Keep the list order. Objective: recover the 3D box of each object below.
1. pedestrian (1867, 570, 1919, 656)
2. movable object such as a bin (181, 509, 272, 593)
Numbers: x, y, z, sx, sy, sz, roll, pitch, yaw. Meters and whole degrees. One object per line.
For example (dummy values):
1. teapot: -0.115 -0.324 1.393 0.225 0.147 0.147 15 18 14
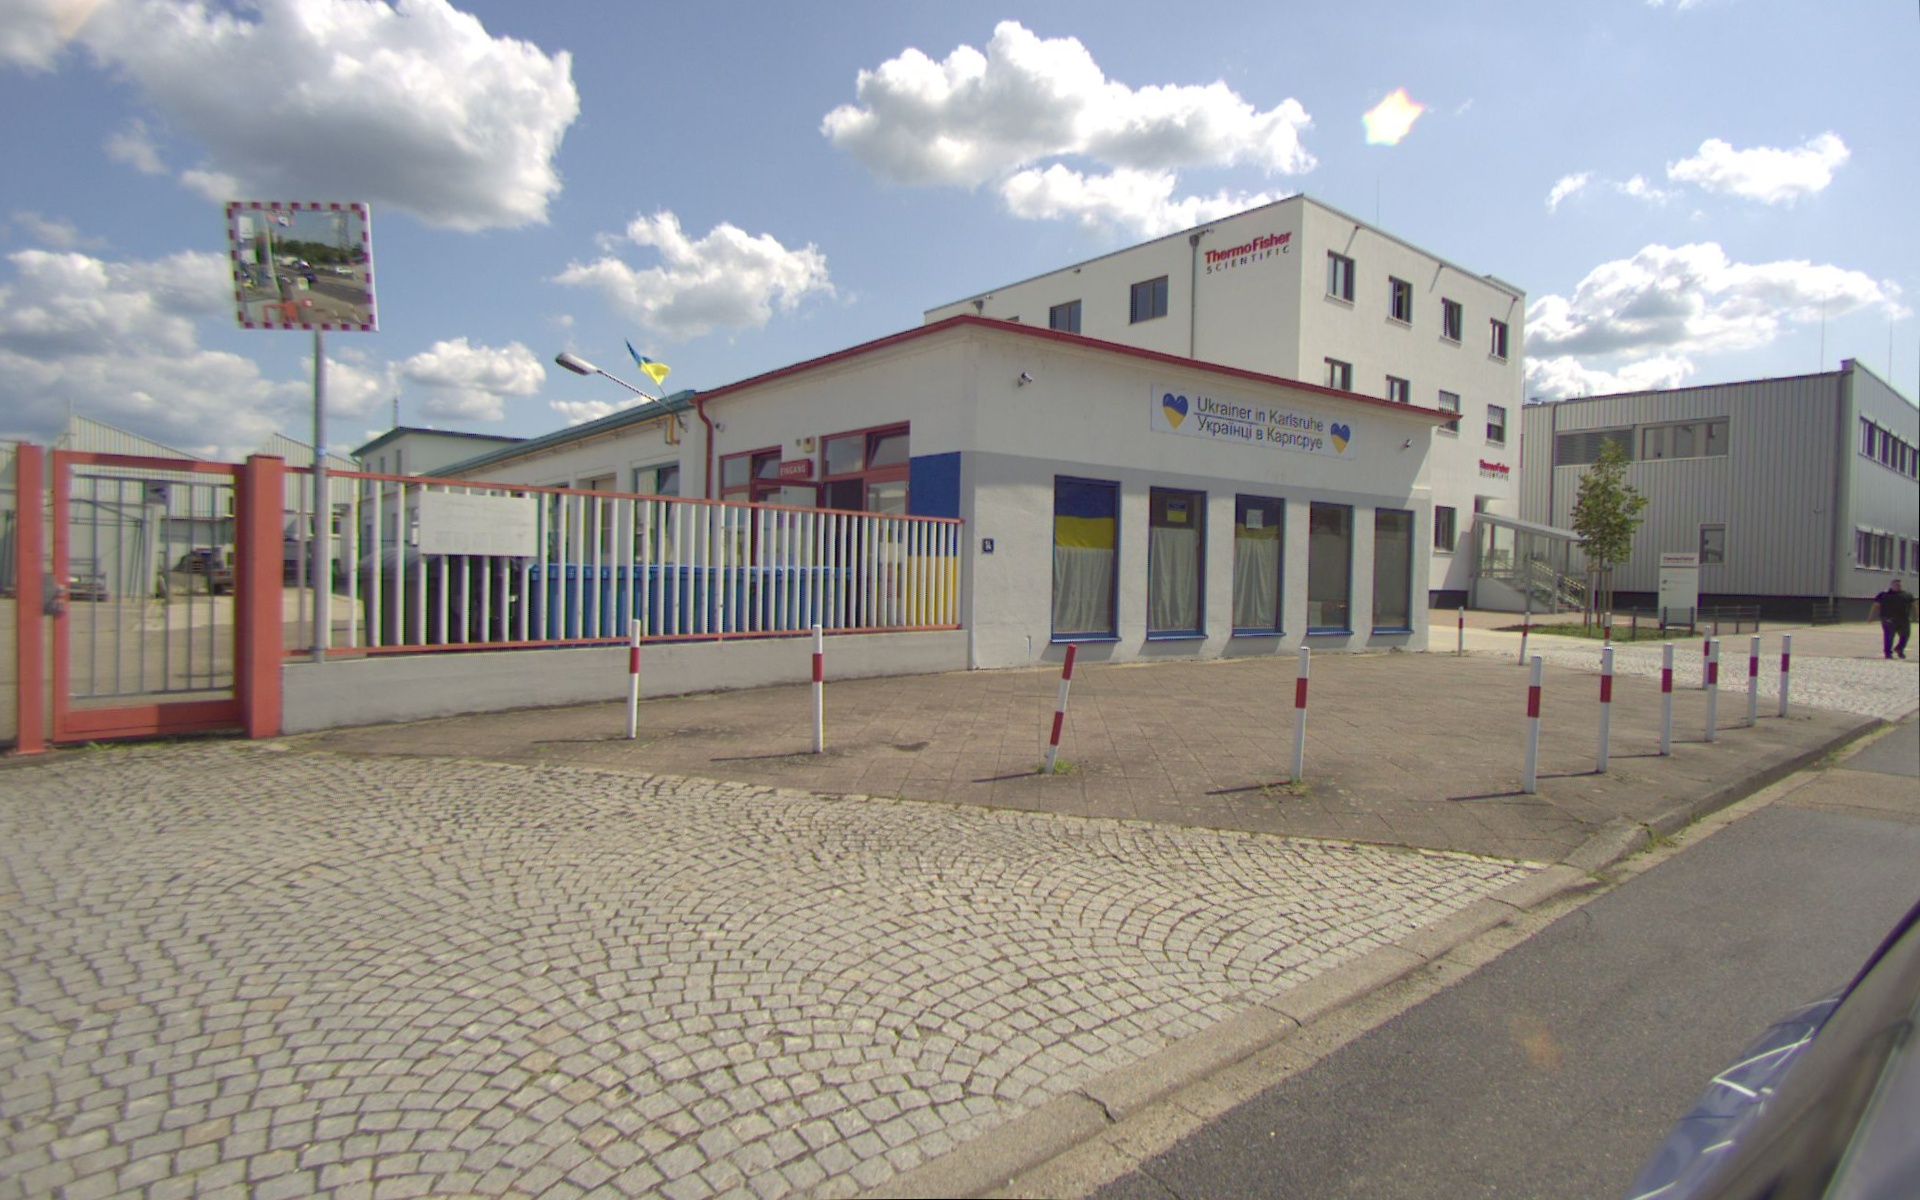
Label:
1. pedestrian: 22.220 0.291 23.825 0.983 1.975 1.081 2 2 27
2. movable object such as a bin: -23.205 -1.508 31.965 1.966 2.475 3.836 0 2 -42
